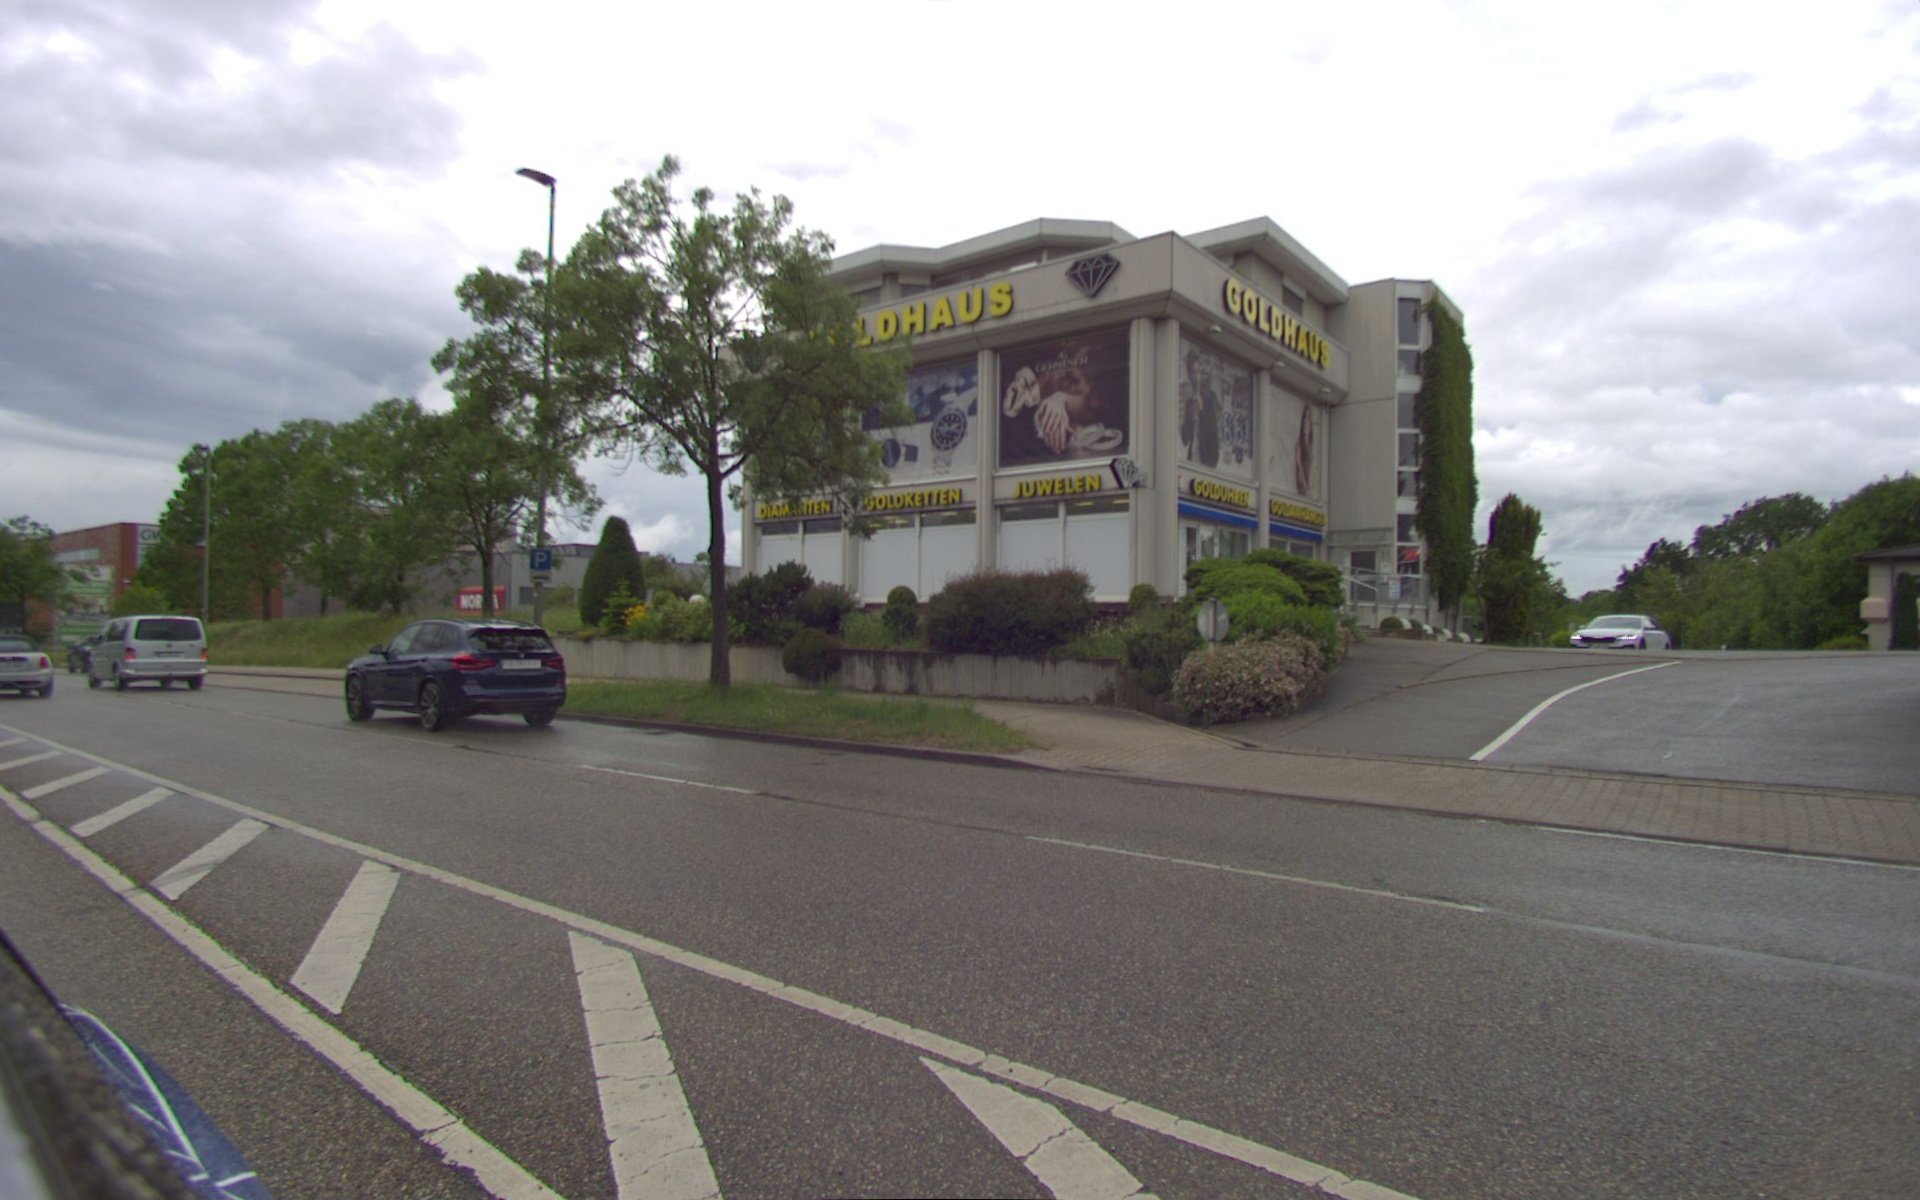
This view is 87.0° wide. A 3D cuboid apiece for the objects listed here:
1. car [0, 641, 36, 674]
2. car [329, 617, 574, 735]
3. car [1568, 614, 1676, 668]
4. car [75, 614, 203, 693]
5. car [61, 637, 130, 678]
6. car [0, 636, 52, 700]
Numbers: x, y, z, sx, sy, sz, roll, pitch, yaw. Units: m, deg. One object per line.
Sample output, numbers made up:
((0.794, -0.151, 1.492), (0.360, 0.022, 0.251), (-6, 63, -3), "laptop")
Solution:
((-42.402, 2.506, 44.511), (4.292, 1.412, 1.776), (-2, -3, 37), "car")
((-8.189, 1.146, 16.137), (4.527, 1.623, 1.734), (-2, -4, 39), "car")
((19.751, 1.188, 30.160), (3.943, 1.524, 1.876), (1, -2, -45), "car")
((-22.695, 1.442, 27.905), (4.894, 1.998, 1.778), (-2, -3, 40), "car")
((-38.912, 2.579, 45.525), (4.485, 1.681, 1.708), (-3, -1, 41), "car")
((-22.673, 1.534, 23.521), (3.995, 1.409, 1.651), (-1, -3, 38), "car")
